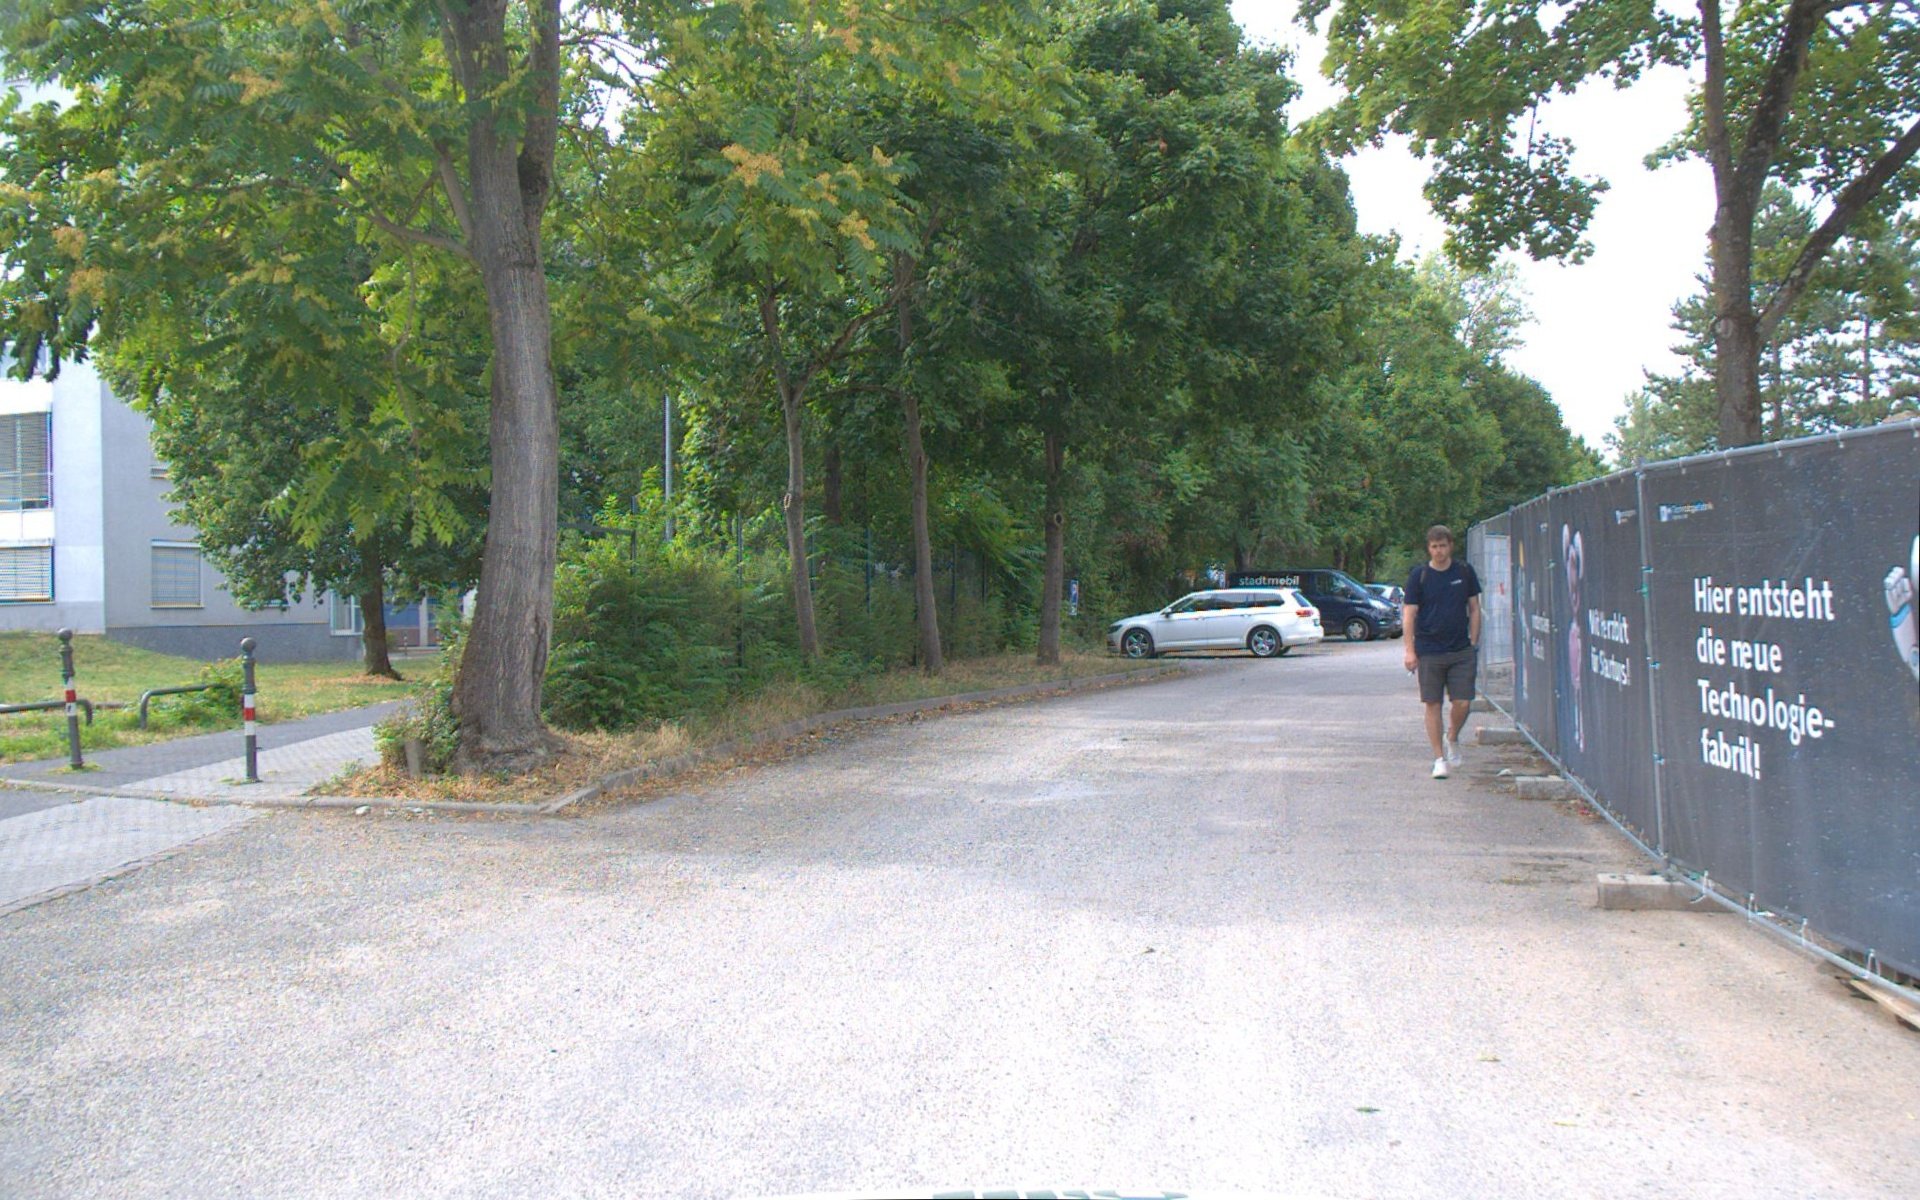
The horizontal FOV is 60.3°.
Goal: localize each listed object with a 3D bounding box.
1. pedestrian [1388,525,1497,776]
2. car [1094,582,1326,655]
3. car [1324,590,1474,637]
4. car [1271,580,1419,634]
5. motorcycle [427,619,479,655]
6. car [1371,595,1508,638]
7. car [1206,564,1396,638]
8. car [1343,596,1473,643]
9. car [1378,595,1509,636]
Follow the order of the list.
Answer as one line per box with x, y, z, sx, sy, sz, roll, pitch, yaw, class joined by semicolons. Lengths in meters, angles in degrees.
3.638;0.365;12.452;0.732;1.821;0.731;-1;0;20;pedestrian
5.446;0.397;35.938;4.693;1.514;2.001;-1;0;20;car
14.688;0.435;55.273;4.693;1.514;2.001;-1;0;20;car
11.465;0.203;49.290;3.915;1.527;1.927;0;0;32;car
-19.347;1.409;63.142;0.653;1.313;2.147;0;1;24;motorcycle
17.557;0.609;60.520;4.693;1.514;2.001;-1;0;20;car
9.597;0.042;46.548;4.944;1.987;1.999;0;0;24;car
15.661;0.684;57.769;4.244;1.570;1.754;-1;0;20;car
18.478;0.583;63.223;4.693;1.514;2.001;-1;0;20;car
